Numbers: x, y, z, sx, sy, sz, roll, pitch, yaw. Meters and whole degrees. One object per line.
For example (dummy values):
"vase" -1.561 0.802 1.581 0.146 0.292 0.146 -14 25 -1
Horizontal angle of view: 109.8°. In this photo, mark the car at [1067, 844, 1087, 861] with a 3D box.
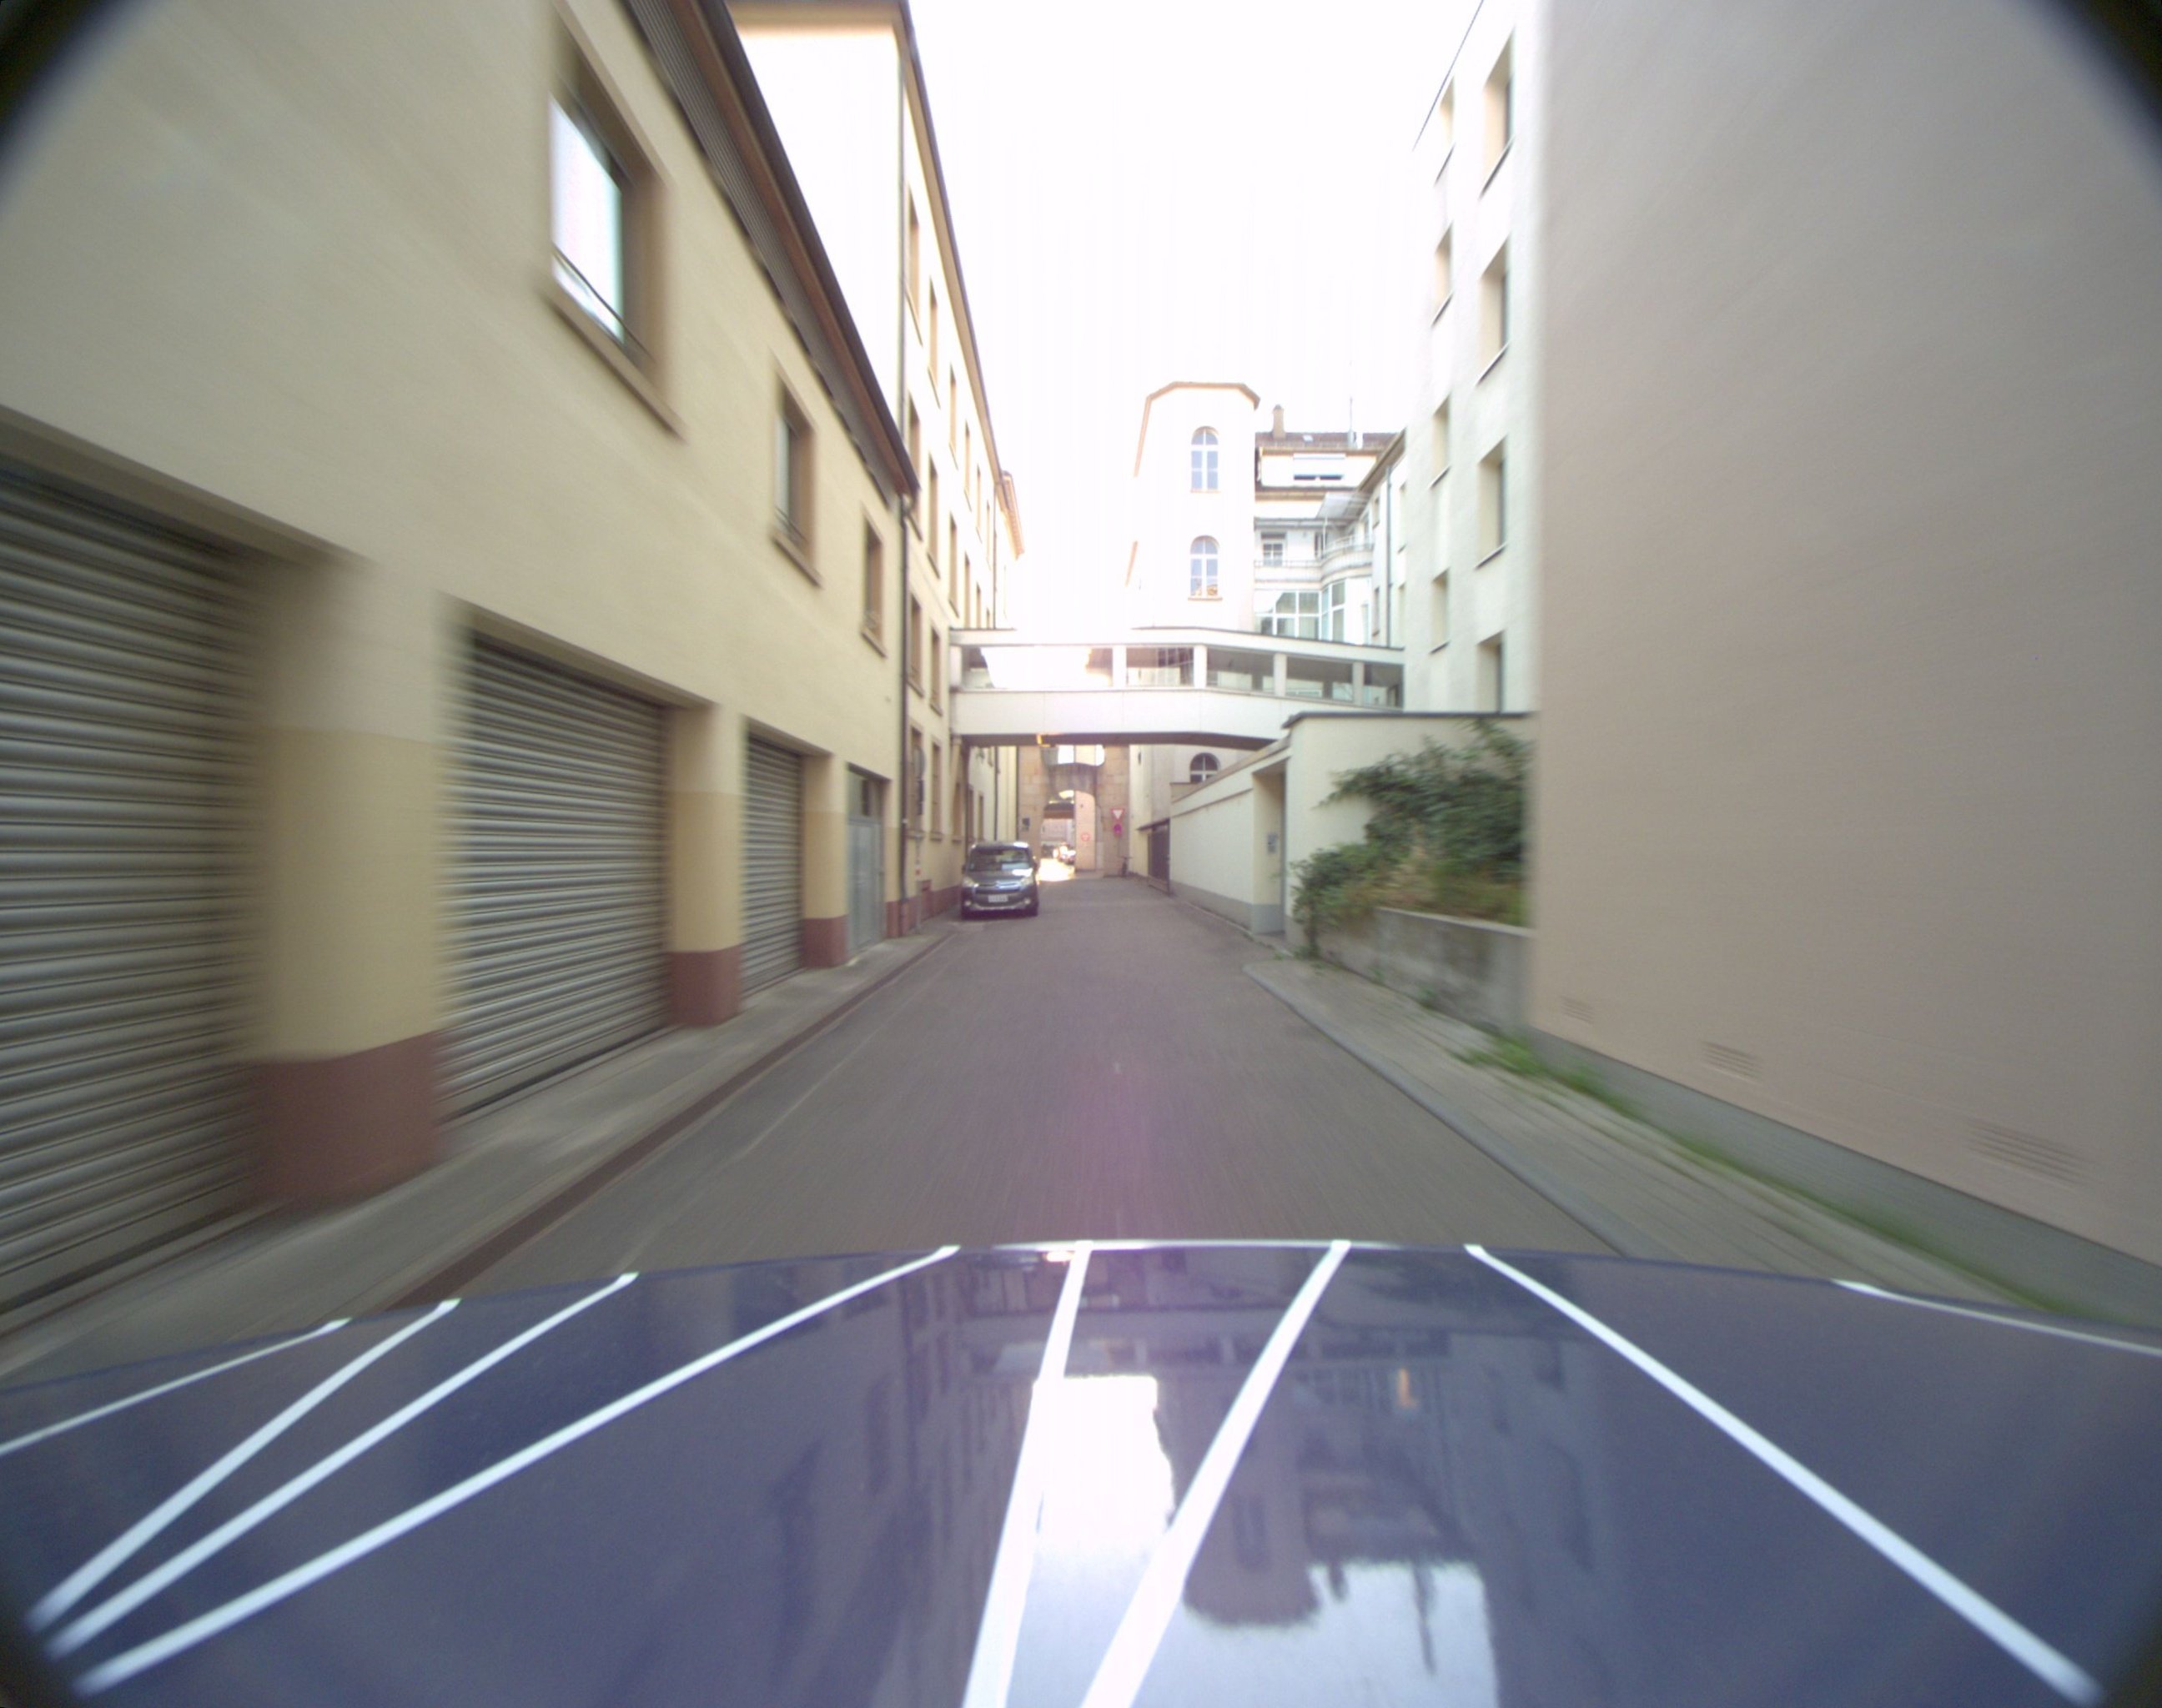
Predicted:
"car" -0.455 -0.142 84.052 1.999 1.805 3.999 -2 1 -1

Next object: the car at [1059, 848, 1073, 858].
"car" -2.156 -0.153 108.440 1.806 1.415 3.754 -1 1 -4

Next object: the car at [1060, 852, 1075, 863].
"car" -1.817 0.466 103.171 1.806 1.415 3.754 -1 1 -3

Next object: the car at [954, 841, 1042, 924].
"car" -1.923 0.612 18.929 1.764 1.756 4.749 -2 1 -2
